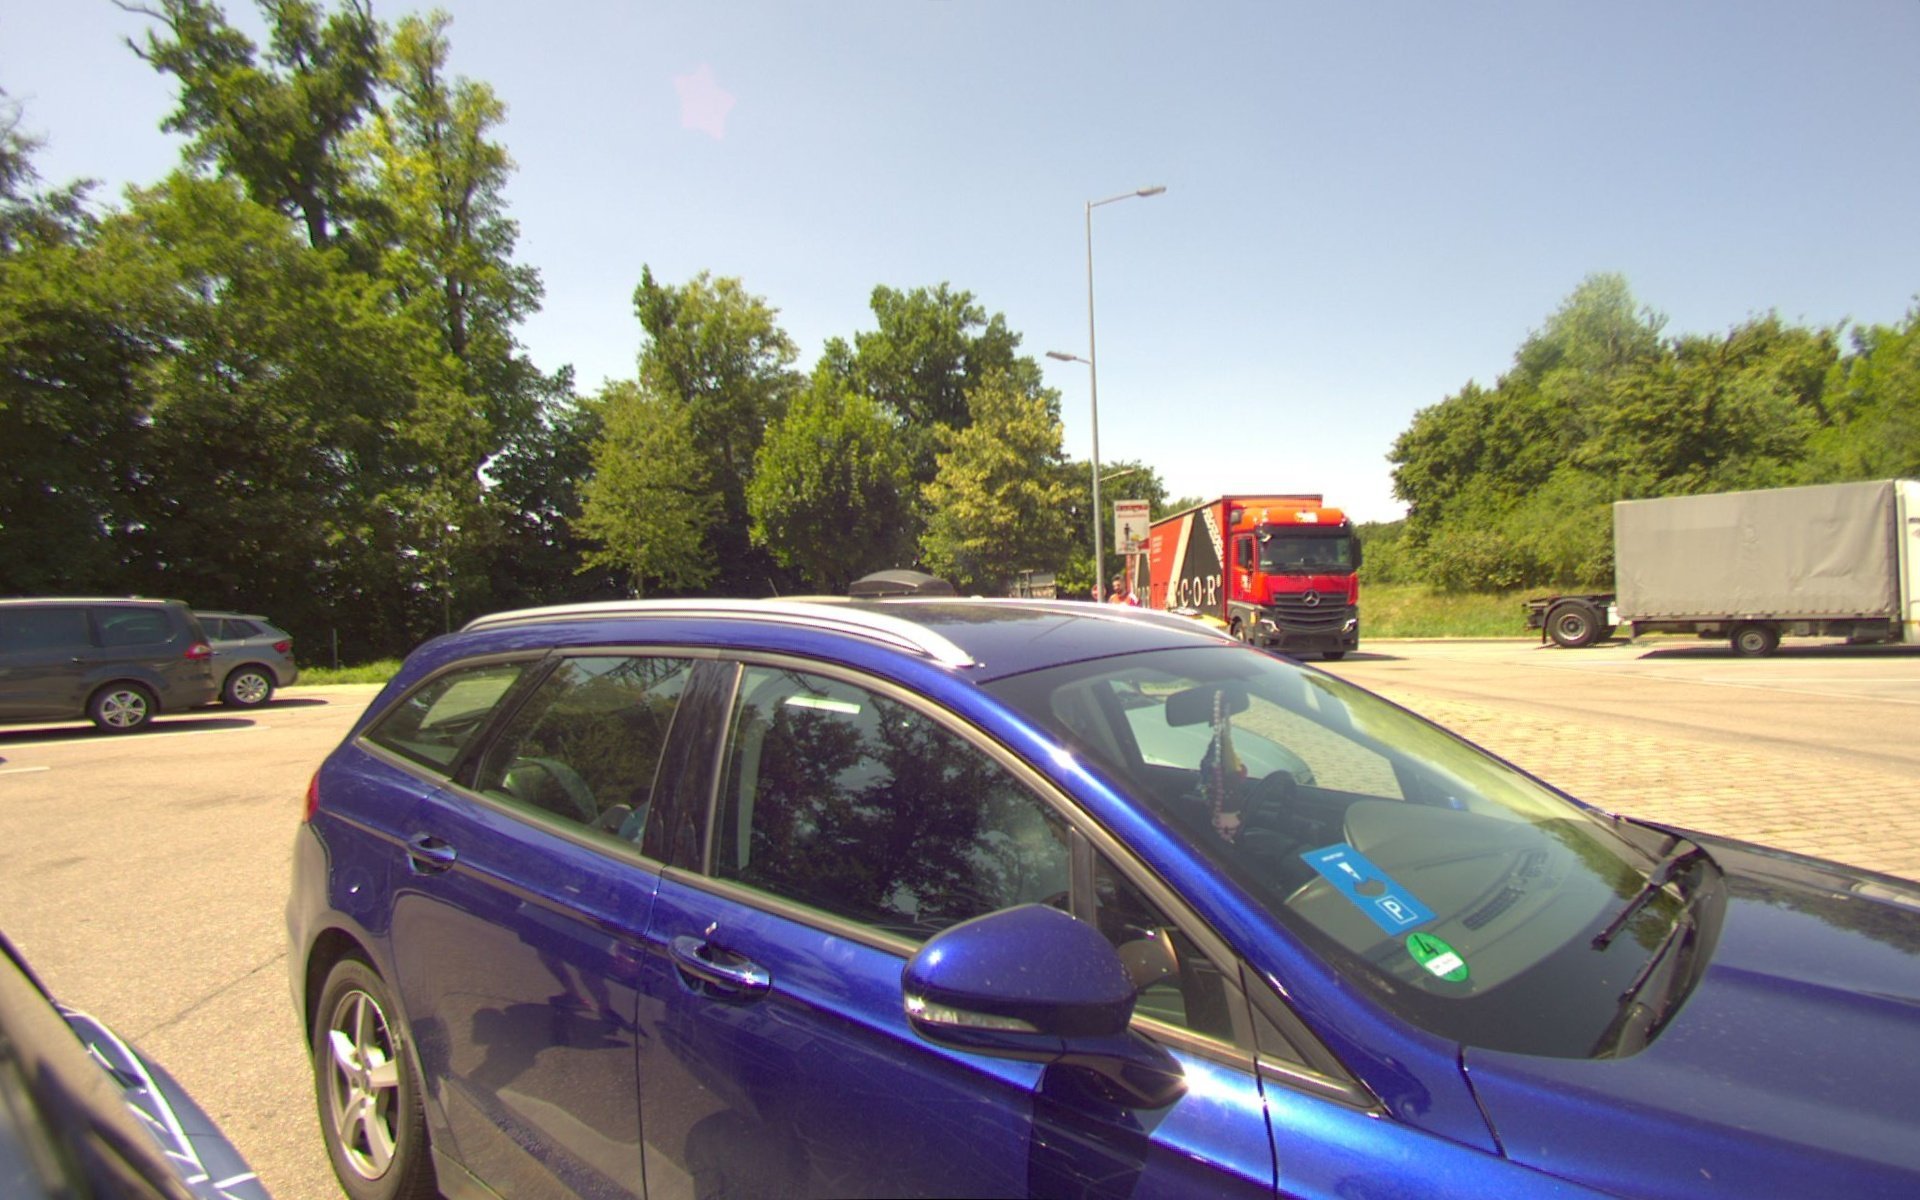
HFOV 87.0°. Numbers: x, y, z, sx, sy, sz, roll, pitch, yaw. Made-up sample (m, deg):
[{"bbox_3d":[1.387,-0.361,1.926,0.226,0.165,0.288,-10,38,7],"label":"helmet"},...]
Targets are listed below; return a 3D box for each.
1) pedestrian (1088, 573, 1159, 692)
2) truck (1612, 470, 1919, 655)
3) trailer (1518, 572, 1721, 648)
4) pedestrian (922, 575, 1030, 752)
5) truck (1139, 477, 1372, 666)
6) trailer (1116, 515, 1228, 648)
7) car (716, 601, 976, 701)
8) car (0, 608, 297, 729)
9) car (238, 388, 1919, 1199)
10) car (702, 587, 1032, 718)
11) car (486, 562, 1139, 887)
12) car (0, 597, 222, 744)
[{"bbox_3d":[2.372,0.462,14.692,0.638,1.662,0.717,-1,-2,-43],"label":"pedestrian"},{"bbox_3d":[16.736,-0.640,18.849,7.347,3.152,2.339,-3,-2,41],"label":"truck"},{"bbox_3d":[15.779,0.277,24.338,3.900,1.674,1.456,-2,-1,41],"label":"trailer"},{"bbox_3d":[0.149,0.588,9.771,0.759,1.614,0.663,-3,-1,44],"label":"pedestrian"},{"bbox_3d":[7.557,-0.588,27.928,2.654,4.159,10.612,-1,-1,-3],"label":"truck"},{"bbox_3d":[7.622,-0.543,37.540,2.807,4.290,8.673,-2,-1,4],"label":"trailer"},{"bbox_3d":[-2.019,0.832,17.092,4.466,1.476,1.756,-3,-1,40],"label":"car"},{"bbox_3d":[-12.718,0.977,15.613,3.910,1.598,1.782,-1,-1,-43],"label":"car"},{"bbox_3d":[0.234,0.633,2.107,4.466,1.476,1.756,-3,-1,40],"label":"car"},{"bbox_3d":[-1.370,0.667,13.542,4.466,1.476,1.756,-3,-1,40],"label":"car"},{"bbox_3d":[-1.230,0.634,6.714,4.466,1.476,1.756,-3,-1,40],"label":"car"},{"bbox_3d":[-11.689,0.851,12.562,3.910,1.701,1.782,-1,-1,-43],"label":"car"}]
